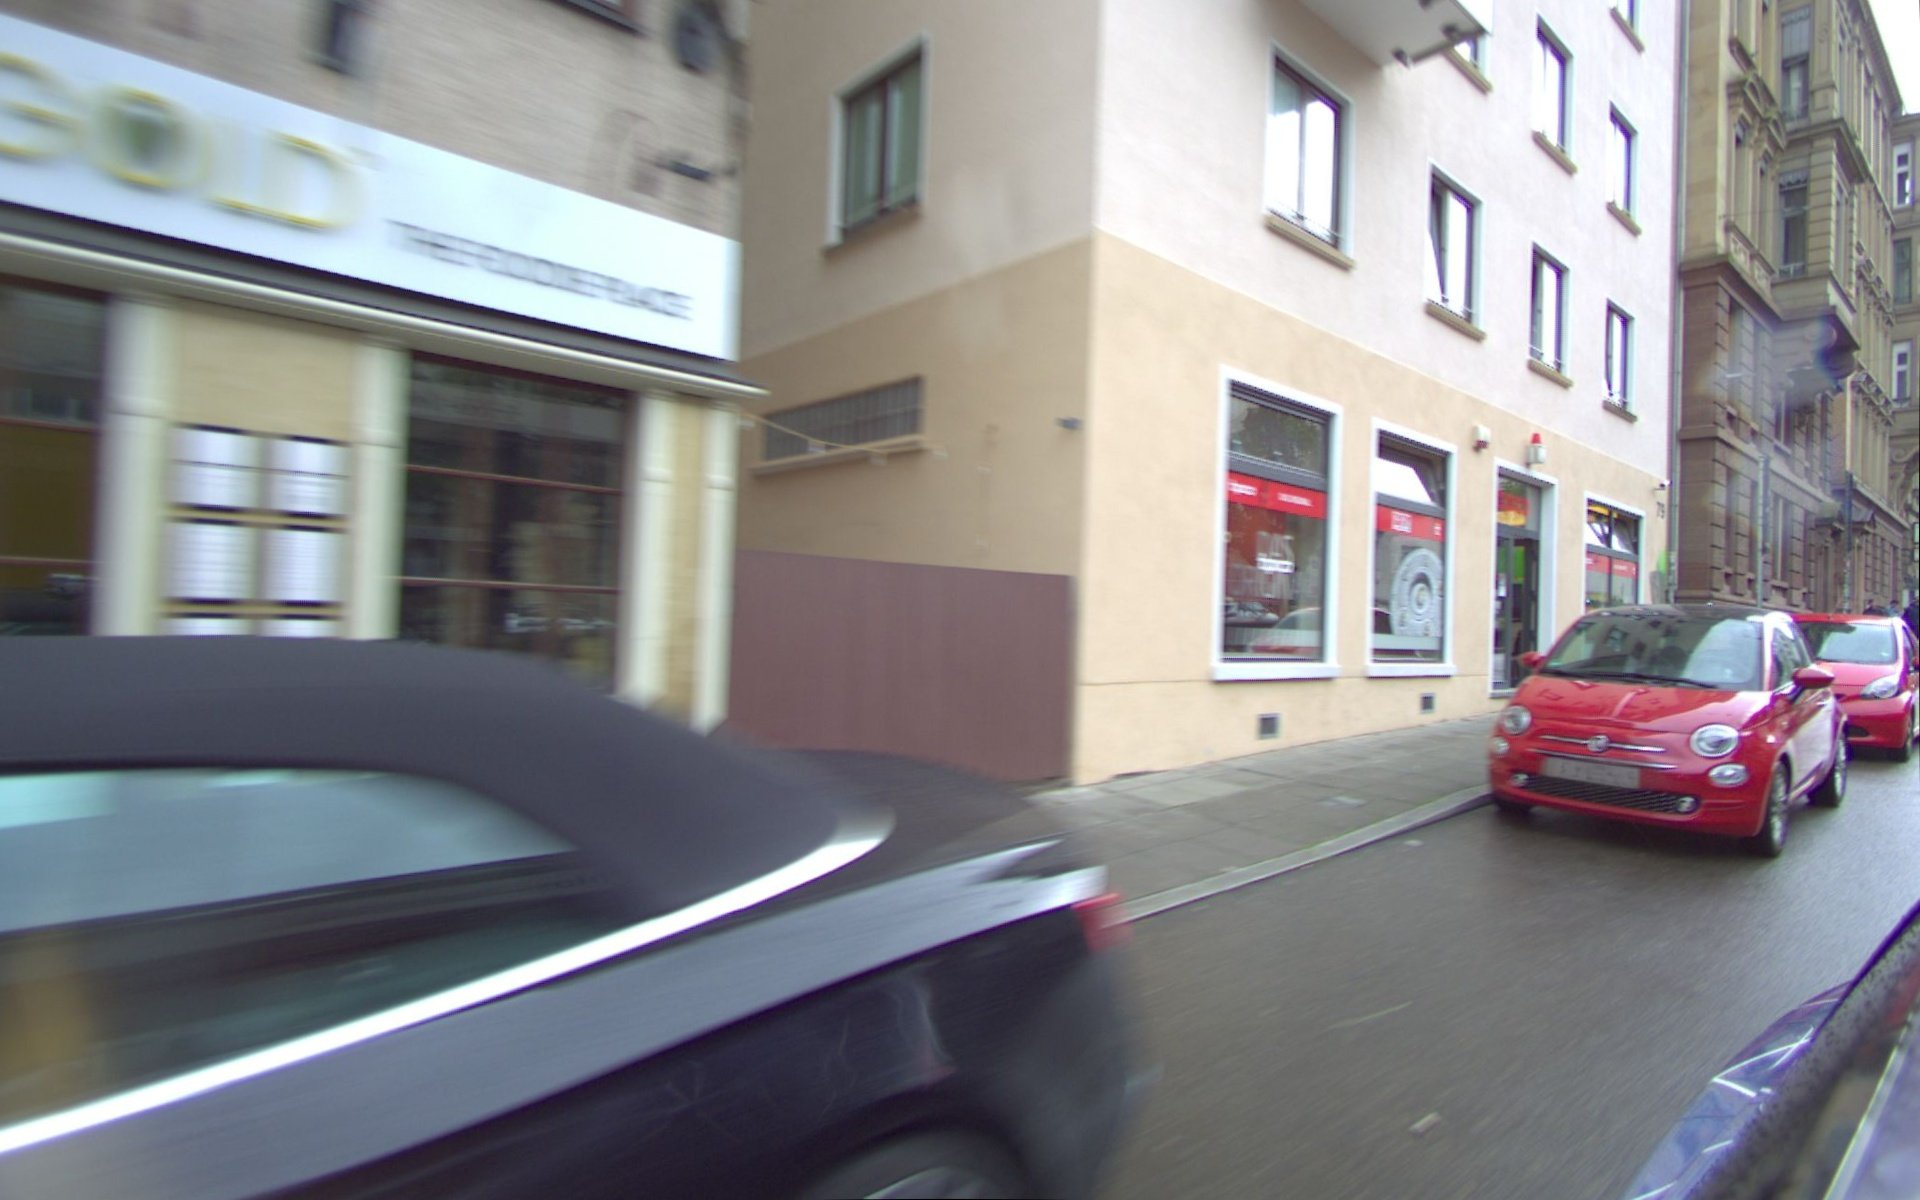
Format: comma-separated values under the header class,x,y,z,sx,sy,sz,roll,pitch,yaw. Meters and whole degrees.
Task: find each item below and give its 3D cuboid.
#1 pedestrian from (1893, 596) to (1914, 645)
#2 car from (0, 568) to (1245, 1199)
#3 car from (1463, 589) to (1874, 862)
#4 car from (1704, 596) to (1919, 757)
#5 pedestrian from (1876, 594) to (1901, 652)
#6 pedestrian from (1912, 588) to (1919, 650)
class,x,y,z,sx,sy,sz,roll,pitch,yaw
pedestrian,32.730,0.699,35.105,0.456,1.665,0.484,0,1,-45
car,-1.642,0.695,1.255,4.172,1.480,1.909,0,1,-42
car,5.199,0.683,7.293,3.354,1.480,1.648,0,1,-41
car,9.771,0.718,11.232,3.384,1.480,1.719,0,1,-41
pedestrian,27.326,0.657,29.776,0.621,1.665,0.488,0,1,-45
pedestrian,28.037,0.556,29.299,0.868,1.784,0.652,0,1,-45
